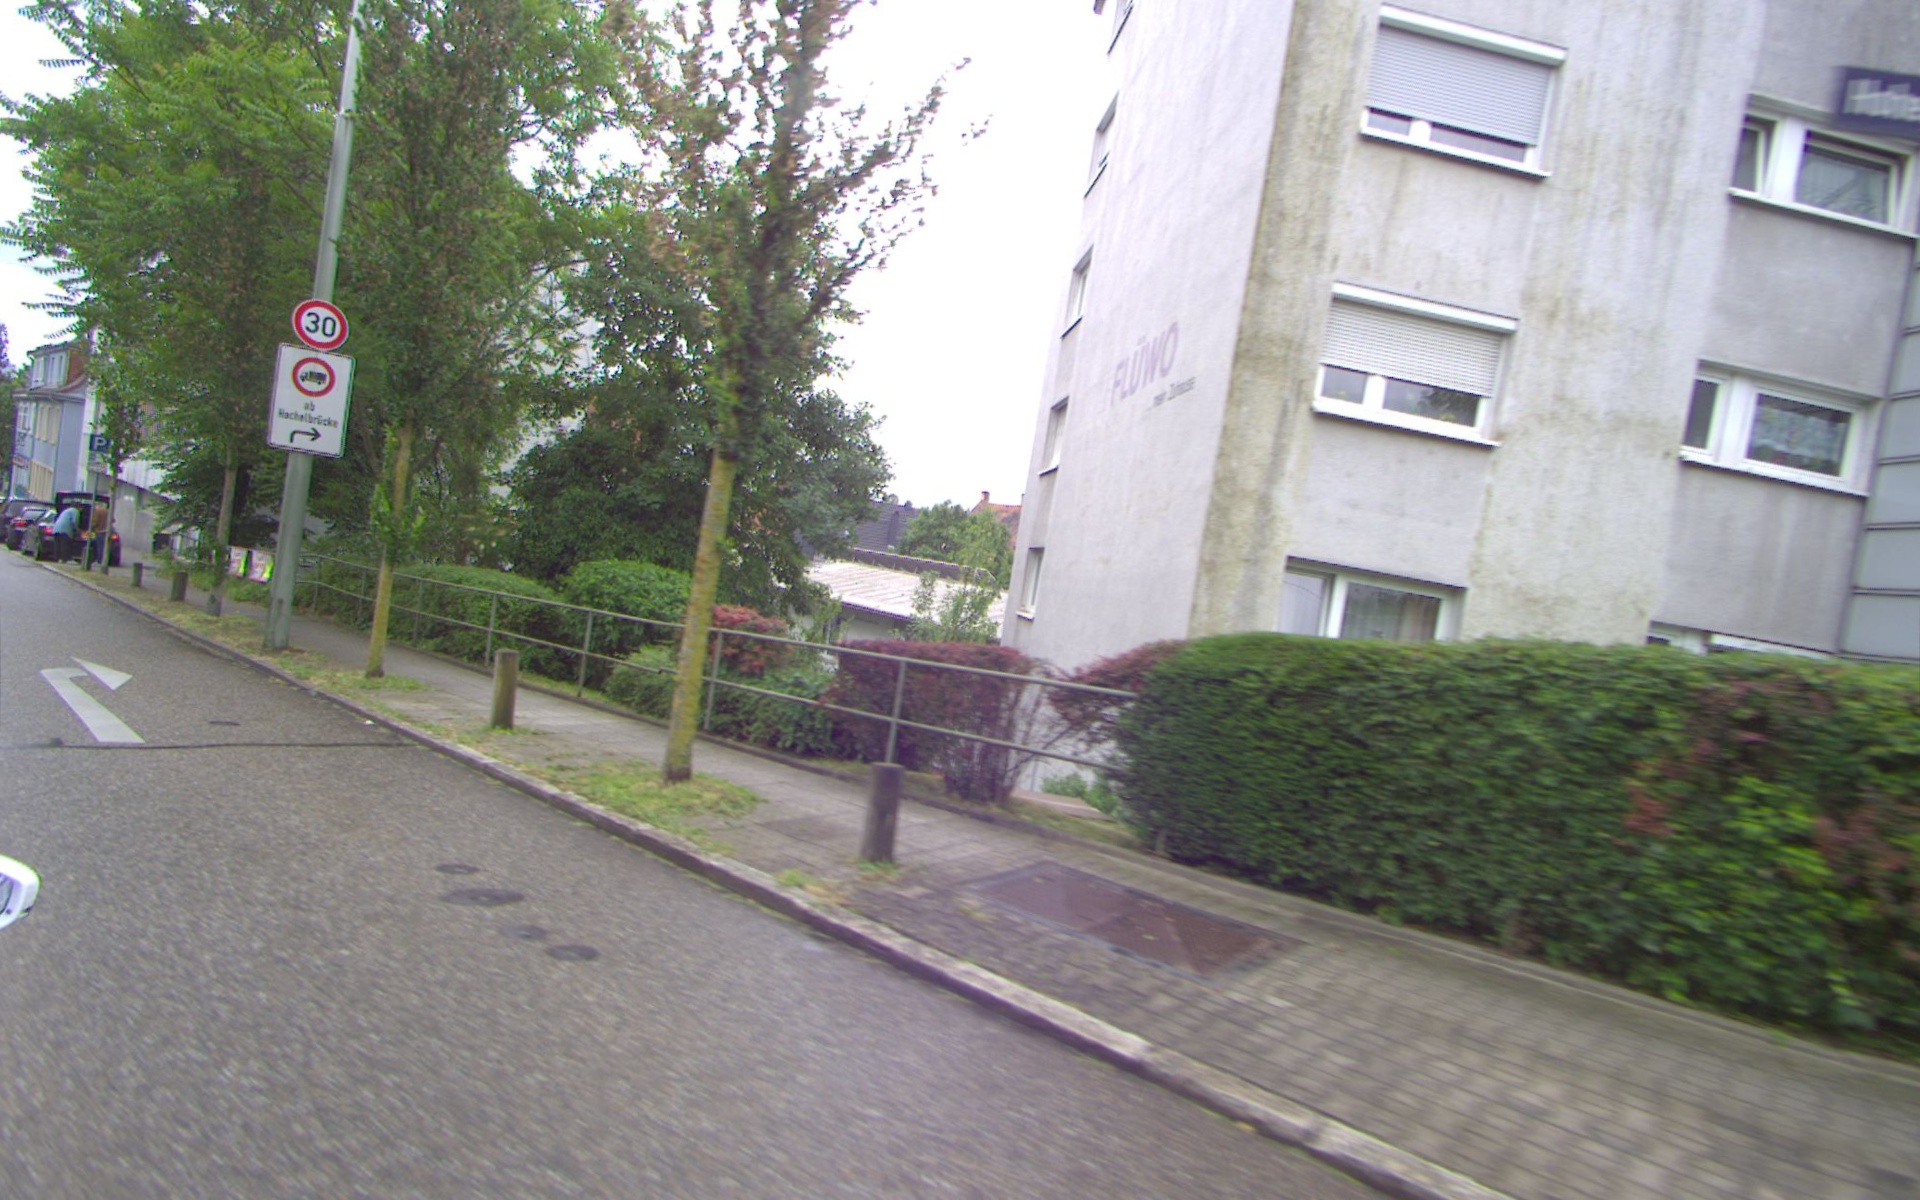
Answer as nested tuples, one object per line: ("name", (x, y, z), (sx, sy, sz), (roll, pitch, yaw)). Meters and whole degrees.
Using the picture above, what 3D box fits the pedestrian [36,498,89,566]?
("pedestrian", (-24.252, -1.827, 27.184), (0.751, 1.747, 0.736), (6, 3, 17))

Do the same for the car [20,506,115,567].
("car", (-25.657, -1.840, 28.881), (3.944, 1.453, 1.501), (6, 0, 41))

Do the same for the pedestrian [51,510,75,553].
("pedestrian", (-40.315, -3.088, 45.213), (0.534, 1.806, 0.644), (8, 1, 43))

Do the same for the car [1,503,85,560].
("car", (-29.826, -2.244, 32.685), (3.946, 1.483, 1.677), (7, 1, 43))

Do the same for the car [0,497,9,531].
("car", (-49.618, -4.493, 50.901), (3.946, 1.591, 1.902), (7, 1, 43))

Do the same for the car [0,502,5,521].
("car", (-78.162, -7.162, 79.366), (1.801, 1.499, 3.844), (7, 3, 37))

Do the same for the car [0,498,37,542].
("car", (-38.644, -3.318, 40.676), (4.232, 1.512, 1.580), (7, 1, 43))

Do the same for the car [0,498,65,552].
("car", (-33.248, -2.692, 35.796), (3.946, 1.591, 1.682), (7, 1, 43))

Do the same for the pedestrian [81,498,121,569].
("pedestrian", (-23.685, -1.829, 27.739), (0.656, 1.861, 0.685), (8, 4, 39))
